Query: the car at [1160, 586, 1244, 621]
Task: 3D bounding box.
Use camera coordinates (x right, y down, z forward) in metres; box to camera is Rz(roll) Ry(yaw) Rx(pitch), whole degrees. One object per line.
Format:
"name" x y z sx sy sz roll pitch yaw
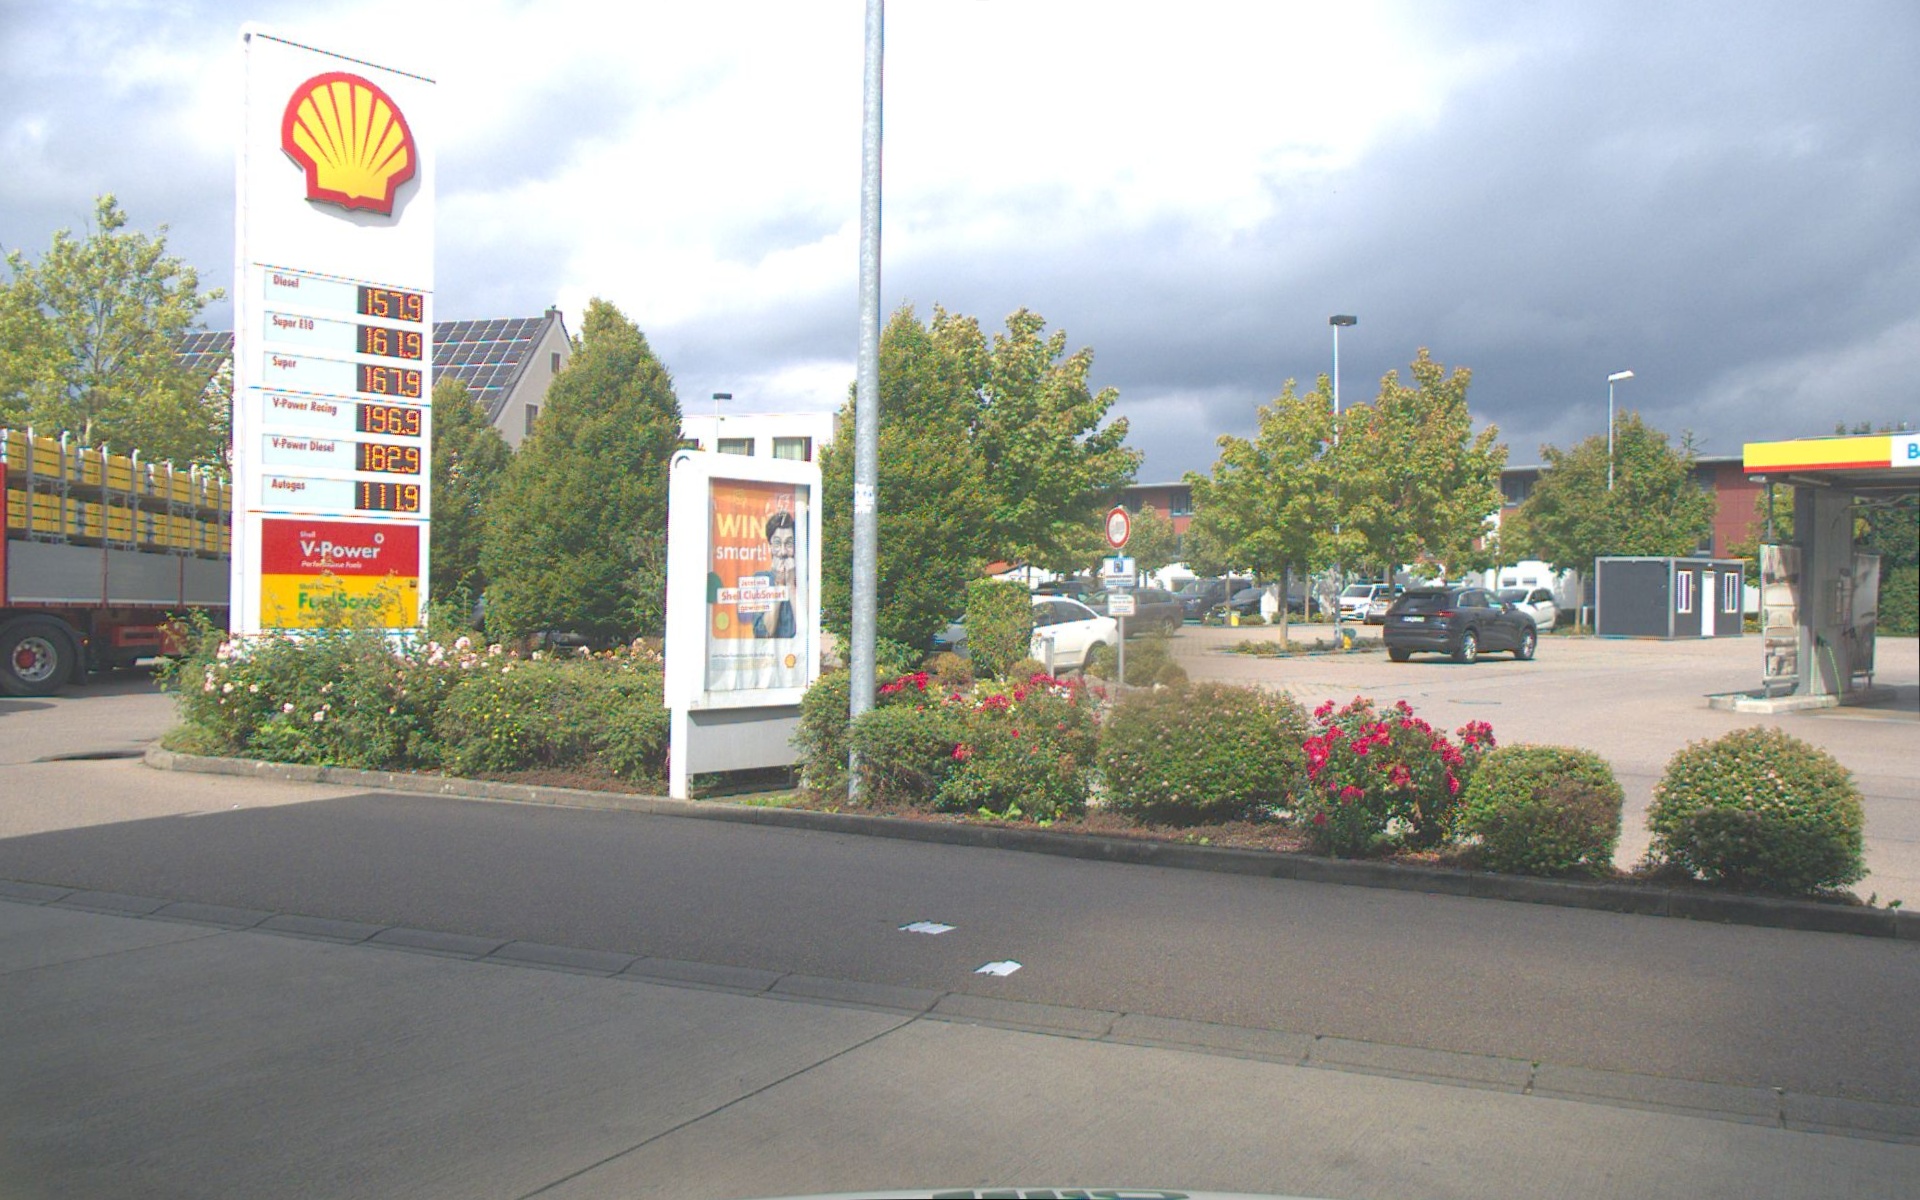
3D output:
"car" 9.816 0.152 66.941 3.364 1.343 1.719 1 0 -45

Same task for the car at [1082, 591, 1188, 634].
"car" 5.283 0.374 49.801 3.203 1.249 1.481 1 0 -45

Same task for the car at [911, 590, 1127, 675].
"car" 1.137 0.583 29.946 1.348 1.428 4.312 1 -1 45

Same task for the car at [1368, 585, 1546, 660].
"car" 11.134 0.492 36.902 4.467 1.575 1.856 1 0 -44

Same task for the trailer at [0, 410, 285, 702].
"trailer" -14.550 -0.586 27.858 2.679 3.842 12.690 1 0 -8

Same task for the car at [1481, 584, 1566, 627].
"car" 18.012 0.175 52.815 3.080 1.330 1.346 1 -1 -45

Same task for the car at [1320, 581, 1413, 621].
"car" 19.921 0.042 80.954 4.839 1.865 2.150 1 0 -44

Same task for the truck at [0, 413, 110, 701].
"truck" -15.017 -0.620 22.134 2.691 3.913 5.887 1 -1 40

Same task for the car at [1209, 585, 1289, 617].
"car" 11.418 0.048 65.219 3.393 1.199 1.462 1 0 -45
